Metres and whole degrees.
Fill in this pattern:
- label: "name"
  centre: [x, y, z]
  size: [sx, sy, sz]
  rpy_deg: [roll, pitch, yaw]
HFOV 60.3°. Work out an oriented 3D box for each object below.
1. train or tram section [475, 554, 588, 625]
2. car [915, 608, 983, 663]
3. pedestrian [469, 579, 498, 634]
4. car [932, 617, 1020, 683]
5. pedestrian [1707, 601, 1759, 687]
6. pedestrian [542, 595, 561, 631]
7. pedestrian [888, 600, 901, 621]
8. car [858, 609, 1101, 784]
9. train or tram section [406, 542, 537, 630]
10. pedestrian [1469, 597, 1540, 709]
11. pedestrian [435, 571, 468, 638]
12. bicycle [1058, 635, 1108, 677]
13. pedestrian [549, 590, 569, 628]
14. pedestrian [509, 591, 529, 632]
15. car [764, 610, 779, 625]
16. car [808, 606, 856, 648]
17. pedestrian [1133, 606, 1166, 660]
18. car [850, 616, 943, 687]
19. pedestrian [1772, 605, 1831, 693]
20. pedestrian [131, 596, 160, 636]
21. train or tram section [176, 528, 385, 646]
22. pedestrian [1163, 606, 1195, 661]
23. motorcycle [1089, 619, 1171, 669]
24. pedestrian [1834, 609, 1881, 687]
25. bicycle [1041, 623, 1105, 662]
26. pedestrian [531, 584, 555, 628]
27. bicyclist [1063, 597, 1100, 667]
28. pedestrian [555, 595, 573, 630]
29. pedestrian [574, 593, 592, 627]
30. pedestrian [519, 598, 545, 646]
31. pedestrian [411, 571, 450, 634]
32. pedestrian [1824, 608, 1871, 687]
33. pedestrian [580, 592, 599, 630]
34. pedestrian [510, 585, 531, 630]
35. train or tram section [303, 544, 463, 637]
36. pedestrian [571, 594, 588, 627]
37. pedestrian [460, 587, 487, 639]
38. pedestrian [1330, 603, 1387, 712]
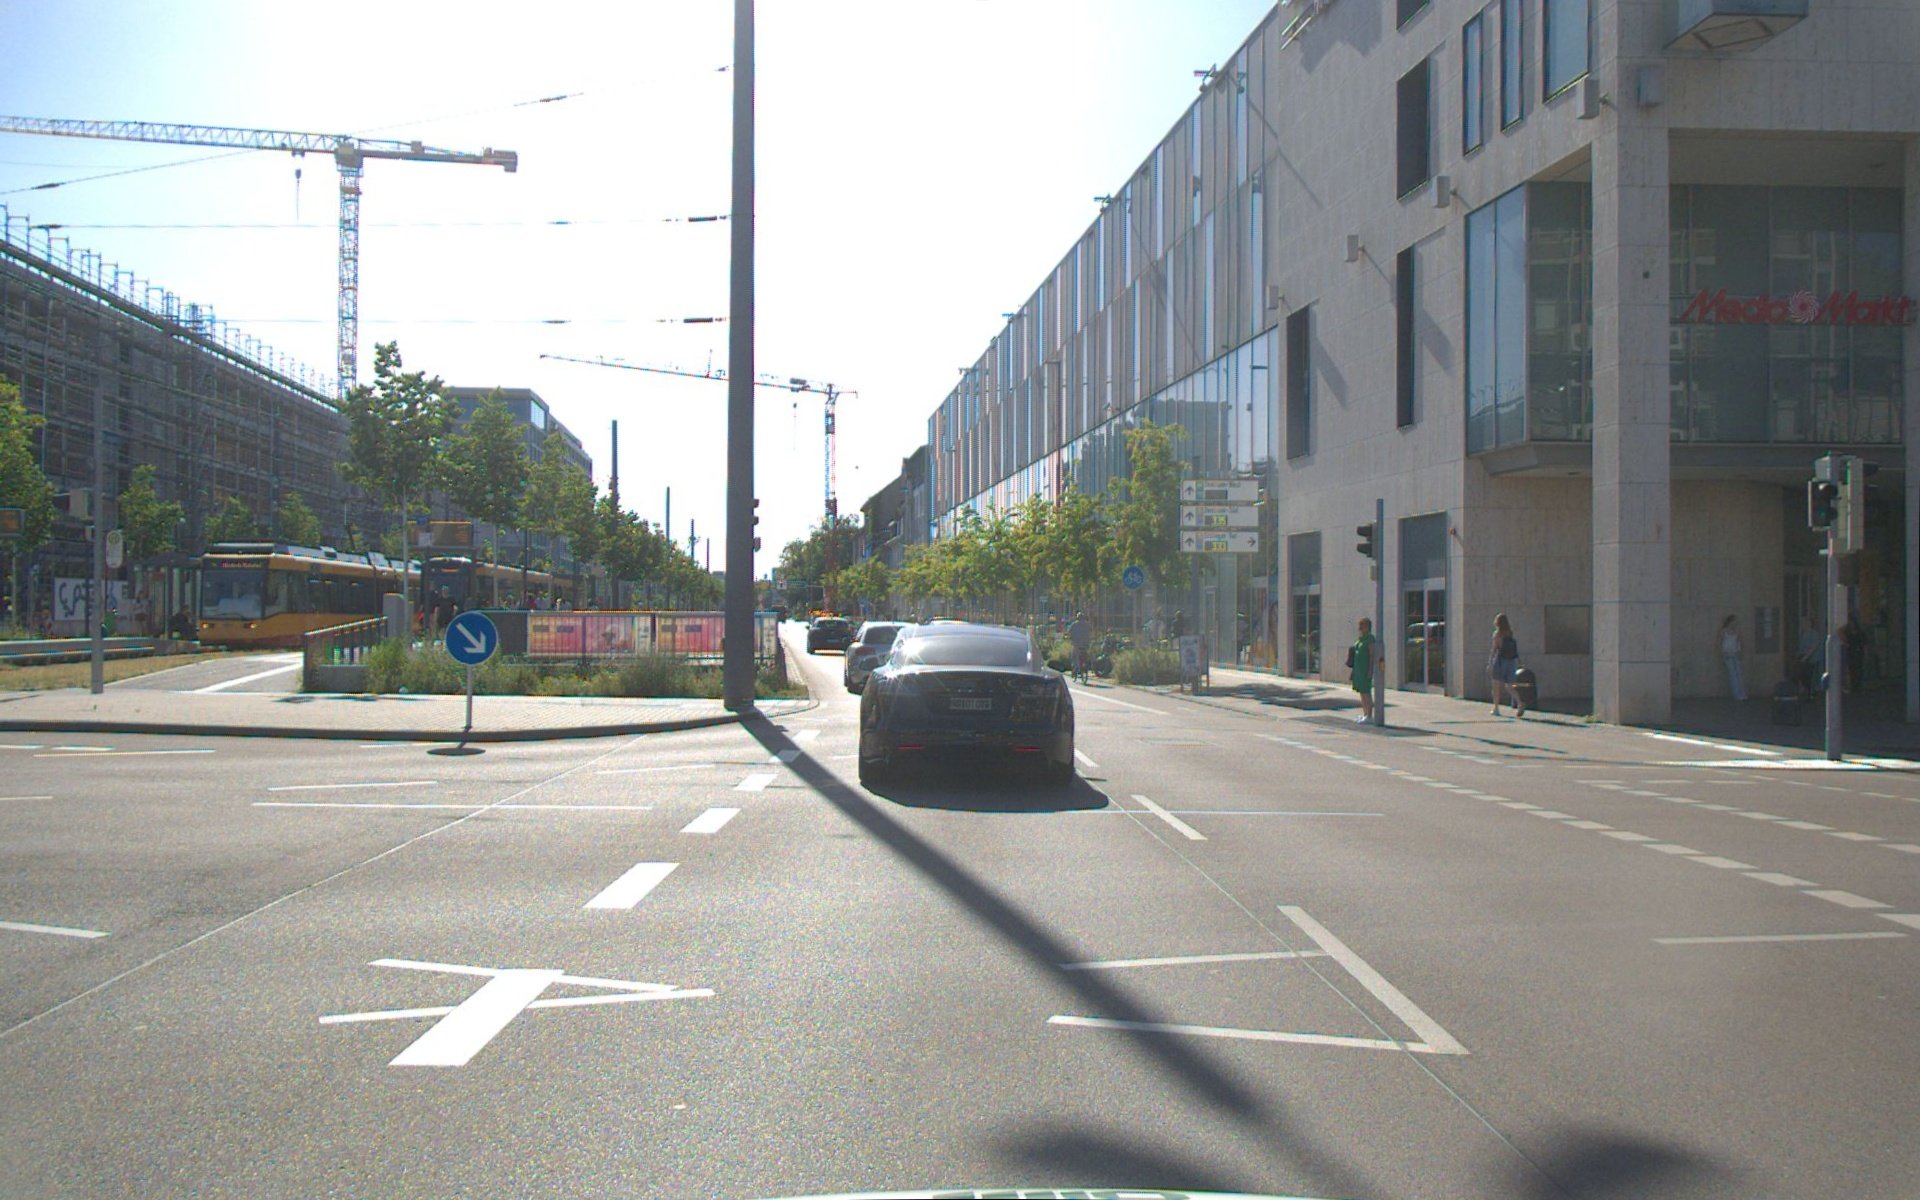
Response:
- label: "train or tram section"
  centre: [-23.274, -0.484, 91.312]
  size: [2.816, 3.337, 22.110]
  rpy_deg: [2, 0, -6]
- label: "car"
  centre: [-0.375, 1.069, 51.089]
  size: [1.750, 1.573, 4.034]
  rpy_deg: [1, 0, -5]
- label: "pedestrian"
  centre: [-16.197, 0.212, 56.211]
  size: [0.776, 1.806, 0.977]
  rpy_deg: [2, 0, -9]
- label: "car"
  centre: [0.334, 1.166, 39.784]
  size: [1.683, 1.457, 3.995]
  rpy_deg: [1, 0, -6]
- label: "pedestrian"
  centre: [14.968, 0.836, 32.035]
  size: [0.733, 1.636, 0.556]
  rpy_deg: [0, 0, -8]
- label: "pedestrian"
  centre: [-18.934, 0.602, 76.733]
  size: [0.727, 1.657, 0.860]
  rpy_deg: [0, -1, -6]
- label: "pedestrian"
  centre: [-5.951, 0.924, 150.120]
  size: [1.074, 1.896, 1.520]
  rpy_deg: [0, 0, -8]
- label: "car"
  centre: [0.041, 0.852, 16.224]
  size: [1.960, 1.459, 4.408]
  rpy_deg: [1, -1, -5]
- label: "train or tram section"
  centre: [-21.199, -0.535, 72.803]
  size: [2.816, 3.337, 15.162]
  rpy_deg: [2, 0, -7]
- label: "pedestrian"
  centre: [9.188, 0.879, 27.941]
  size: [0.714, 1.833, 1.065]
  rpy_deg: [-2, 0, -7]
- label: "pedestrian"
  centre: [-14.018, 0.124, 45.579]
  size: [0.690, 1.806, 0.957]
  rpy_deg: [2, 0, -9]
- label: "bicycle"
  centre: [3.158, 1.430, 42.688]
  size: [0.715, 1.001, 2.327]
  rpy_deg: [2, -1, -10]
- label: "pedestrian"
  centre: [-17.550, 0.399, 72.396]
  size: [0.727, 1.657, 0.860]
  rpy_deg: [0, -1, -6]
- label: "pedestrian"
  centre: [-16.945, 0.433, 63.599]
  size: [0.635, 1.539, 0.587]
  rpy_deg: [2, 0, -10]
- label: "car"
  centre: [-24.571, 2.255, 215.536]
  size: [1.778, 1.841, 4.034]
  rpy_deg: [1, 0, -5]
- label: "car"
  centre: [-5.084, 1.049, 65.835]
  size: [1.851, 1.624, 3.997]
  rpy_deg: [0, 0, -4]
- label: "pedestrian"
  centre: [5.969, 1.046, 52.256]
  size: [0.806, 1.687, 0.898]
  rpy_deg: [0, 0, -11]
- label: "car"
  centre: [-1.381, 1.045, 34.636]
  size: [1.683, 1.343, 3.995]
  rpy_deg: [1, 0, -6]
- label: "pedestrian"
  centre: [15.890, 0.919, 31.248]
  size: [0.709, 1.636, 0.749]
  rpy_deg: [0, 1, -6]
- label: "pedestrian"
  centre: [-26.106, 0.525, 53.022]
  size: [0.659, 1.248, 0.505]
  rpy_deg: [2, -1, -9]
- label: "train or tram section"
  centre: [-22.135, -0.368, 54.908]
  size: [2.816, 3.367, 13.053]
  rpy_deg: [2, 0, -7]
- label: "pedestrian"
  centre: [6.902, 1.059, 52.184]
  size: [0.694, 1.687, 0.898]
  rpy_deg: [-2, 0, -11]
- label: "motorcycle"
  centre: [4.729, 1.221, 46.078]
  size: [2.145, 1.347, 0.902]
  rpy_deg: [-1, 0, -3]
- label: "pedestrian"
  centre: [19.203, 1.018, 35.390]
  size: [0.552, 1.636, 0.738]
  rpy_deg: [-1, 1, -43]
- label: "bicycle"
  centre: [3.748, 1.398, 54.873]
  size: [2.043, 1.226, 0.950]
  rpy_deg: [-1, 0, 0]
- label: "pedestrian"
  centre: [-17.861, 0.268, 70.903]
  size: [0.870, 1.883, 1.006]
  rpy_deg: [0, -1, -7]
- label: "bicyclist"
  centre: [3.134, 0.814, 42.698]
  size: [0.711, 1.767, 0.995]
  rpy_deg: [0, -1, -10]
- label: "pedestrian"
  centre: [-19.186, 0.599, 80.097]
  size: [0.727, 1.657, 0.860]
  rpy_deg: [0, -1, -6]
- label: "pedestrian"
  centre: [-18.109, 0.475, 79.523]
  size: [0.727, 1.657, 0.946]
  rpy_deg: [0, -1, -6]
- label: "pedestrian"
  centre: [-14.729, 0.757, 56.936]
  size: [0.727, 1.657, 0.860]
  rpy_deg: [0, -1, -6]
- label: "pedestrian"
  centre: [-15.440, 0.067, 48.232]
  size: [0.858, 1.806, 1.186]
  rpy_deg: [2, 0, -9]
- label: "pedestrian"
  centre: [18.735, 0.997, 34.930]
  size: [0.552, 1.636, 0.738]
  rpy_deg: [-1, 1, -42]
- label: "pedestrian"
  centre: [-16.403, 0.480, 73.204]
  size: [0.727, 1.657, 0.860]
  rpy_deg: [0, -1, -6]
- label: "pedestrian"
  centre: [-18.116, 0.306, 68.187]
  size: [0.659, 1.842, 1.073]
  rpy_deg: [0, -1, -7]
- label: "train or tram section"
  centre: [-23.786, -0.339, 69.299]
  size: [2.793, 3.379, 15.942]
  rpy_deg: [2, 0, -6]
- label: "pedestrian"
  centre: [-19.106, 0.545, 83.074]
  size: [0.727, 1.657, 0.860]
  rpy_deg: [0, -1, -6]
- label: "pedestrian"
  centre: [-17.247, 0.446, 58.678]
  size: [0.747, 1.806, 0.825]
  rpy_deg: [2, 0, -9]
- label: "pedestrian"
  centre: [6.519, 0.925, 27.092]
  size: [0.645, 1.732, 0.696]
  rpy_deg: [-2, 0, -8]
